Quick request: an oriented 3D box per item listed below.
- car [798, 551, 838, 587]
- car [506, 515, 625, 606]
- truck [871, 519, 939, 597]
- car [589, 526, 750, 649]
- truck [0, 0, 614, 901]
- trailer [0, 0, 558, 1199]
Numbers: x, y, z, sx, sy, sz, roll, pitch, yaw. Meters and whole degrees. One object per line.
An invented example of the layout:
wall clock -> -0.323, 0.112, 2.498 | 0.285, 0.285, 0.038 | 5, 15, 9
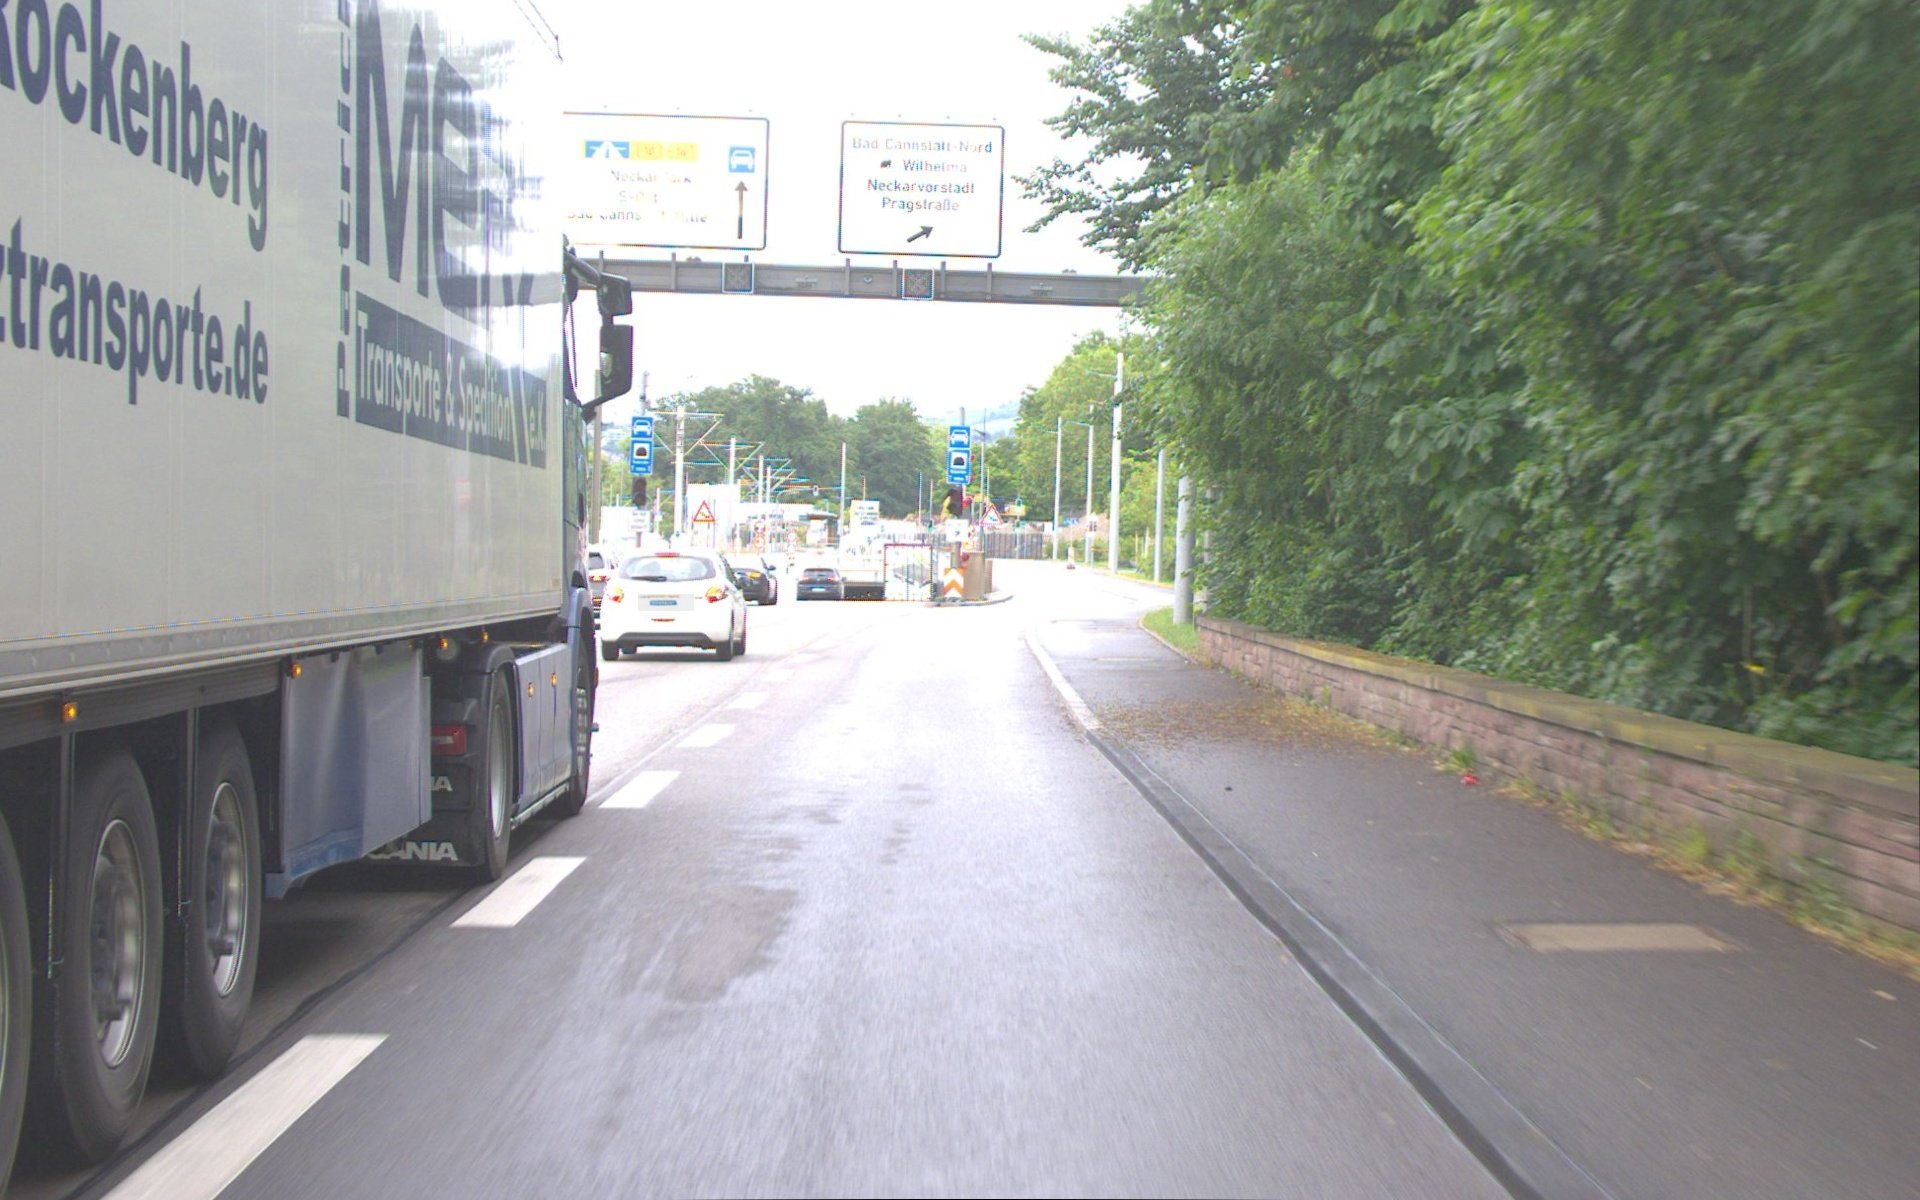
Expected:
car -> -5.514, -1.226, 133.719 | 1.426, 1.349, 2.960 | 1, 1, -1
car -> -6.927, -0.715, 60.682 | 1.681, 1.441, 4.001 | 1, 3, -1
truck -> -2.909, -2.266, 184.728 | 3.518, 4.026, 8.074 | 1, 1, -1
car -> -3.780, -0.197, 45.239 | 1.810, 1.419, 4.001 | 1, 3, -1
truck -> -3.354, -0.949, 17.024 | 2.756, 4.190, 6.307 | 0, 1, -1
trailer -> -3.265, -0.752, 10.112 | 2.762, 4.238, 13.184 | 0, 1, -1
